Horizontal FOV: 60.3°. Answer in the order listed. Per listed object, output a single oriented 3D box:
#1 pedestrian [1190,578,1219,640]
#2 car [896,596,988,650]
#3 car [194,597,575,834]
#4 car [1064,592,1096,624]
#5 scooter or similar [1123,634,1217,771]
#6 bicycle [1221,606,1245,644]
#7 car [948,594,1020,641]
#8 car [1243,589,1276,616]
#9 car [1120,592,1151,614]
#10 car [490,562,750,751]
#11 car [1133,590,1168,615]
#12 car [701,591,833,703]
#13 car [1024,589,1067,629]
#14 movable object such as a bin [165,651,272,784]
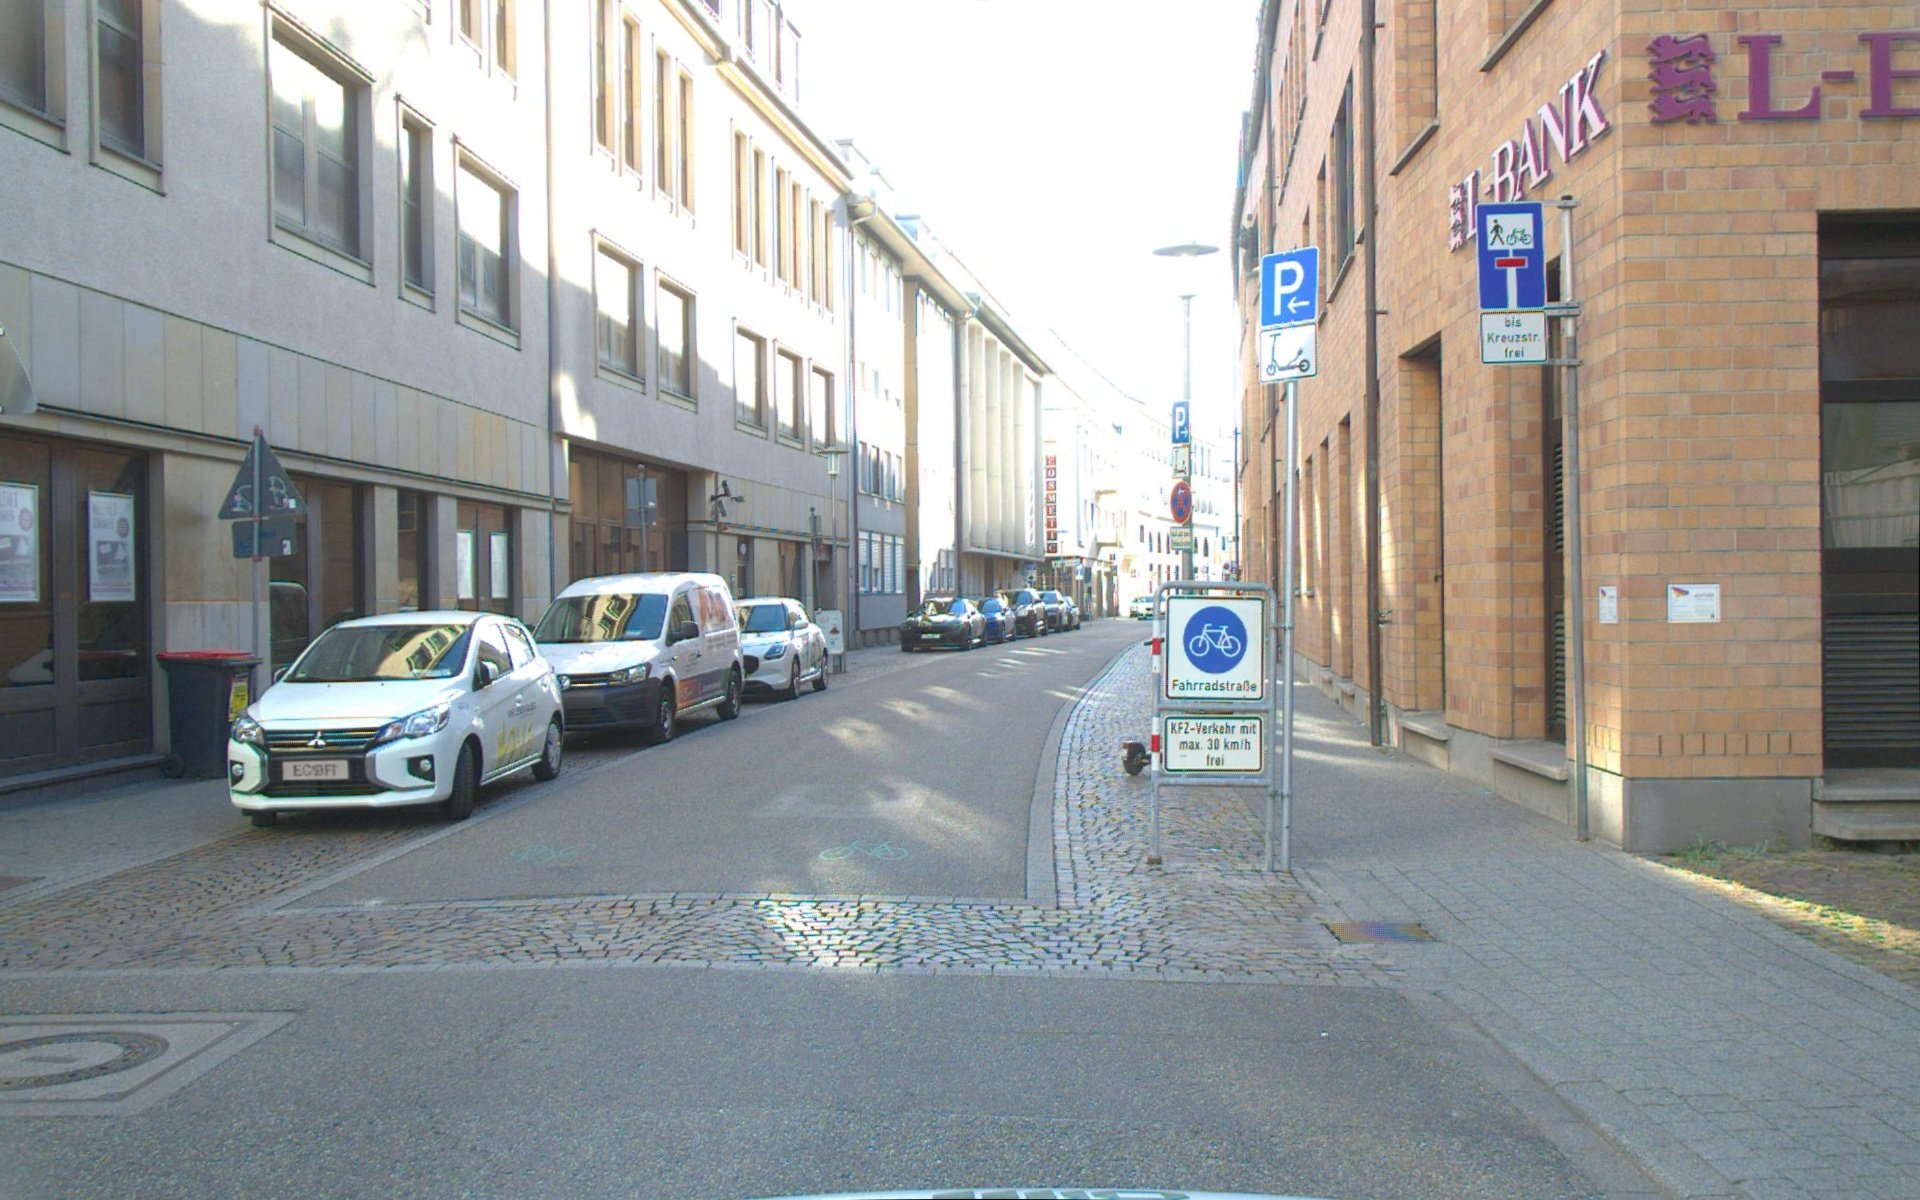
[{"bbox_3d":[7.108,0.269,48.164,0.651,1.761,0.839,2,0,-1],"label":"pedestrian"},{"bbox_3d":[-0.446,0.606,45.611,1.841,1.355,4.104,-1,0,9],"label":"car"},{"bbox_3d":[-4.335,0.777,13.090,1.636,1.533,3.793,-2,0,0],"label":"car"},{"bbox_3d":[6.013,0.375,82.768,1.310,1.520,3.350,-1,0,9],"label":"car"},{"bbox_3d":[1.831,0.891,14.451,0.755,1.156,0.269,2,-1,2],"label":"scooter or similar"},{"bbox_3d":[7.692,0.689,46.629,0.500,1.011,2.650,0,0,6],"label":"bicycle"},{"bbox_3d":[0.788,0.525,52.125,1.687,1.364,4.004,-1,0,9],"label":"car"},{"bbox_3d":[15.934,0.129,87.980,1.653,1.394,3.621,-1,0,11],"label":"car"},{"bbox_3d":[11.431,0.195,107.737,1.653,1.394,3.621,-1,0,11],"label":"car"},{"bbox_3d":[-3.723,0.551,18.964,1.635,1.850,4.555,-2,0,5],"label":"car"},{"bbox_3d":[10.966,0.146,95.092,1.653,1.394,3.621,-1,0,11],"label":"car"},{"bbox_3d":[-2.870,0.659,25.164,1.244,1.533,3.404,-2,0,6],"label":"car"},{"bbox_3d":[3.393,0.333,65.312,1.310,1.520,3.513,-1,0,9],"label":"car"},{"bbox_3d":[-6.359,0.998,14.213,0.596,1.079,0.713,2,0,-4],"label":"movable object such as a bin"}]
